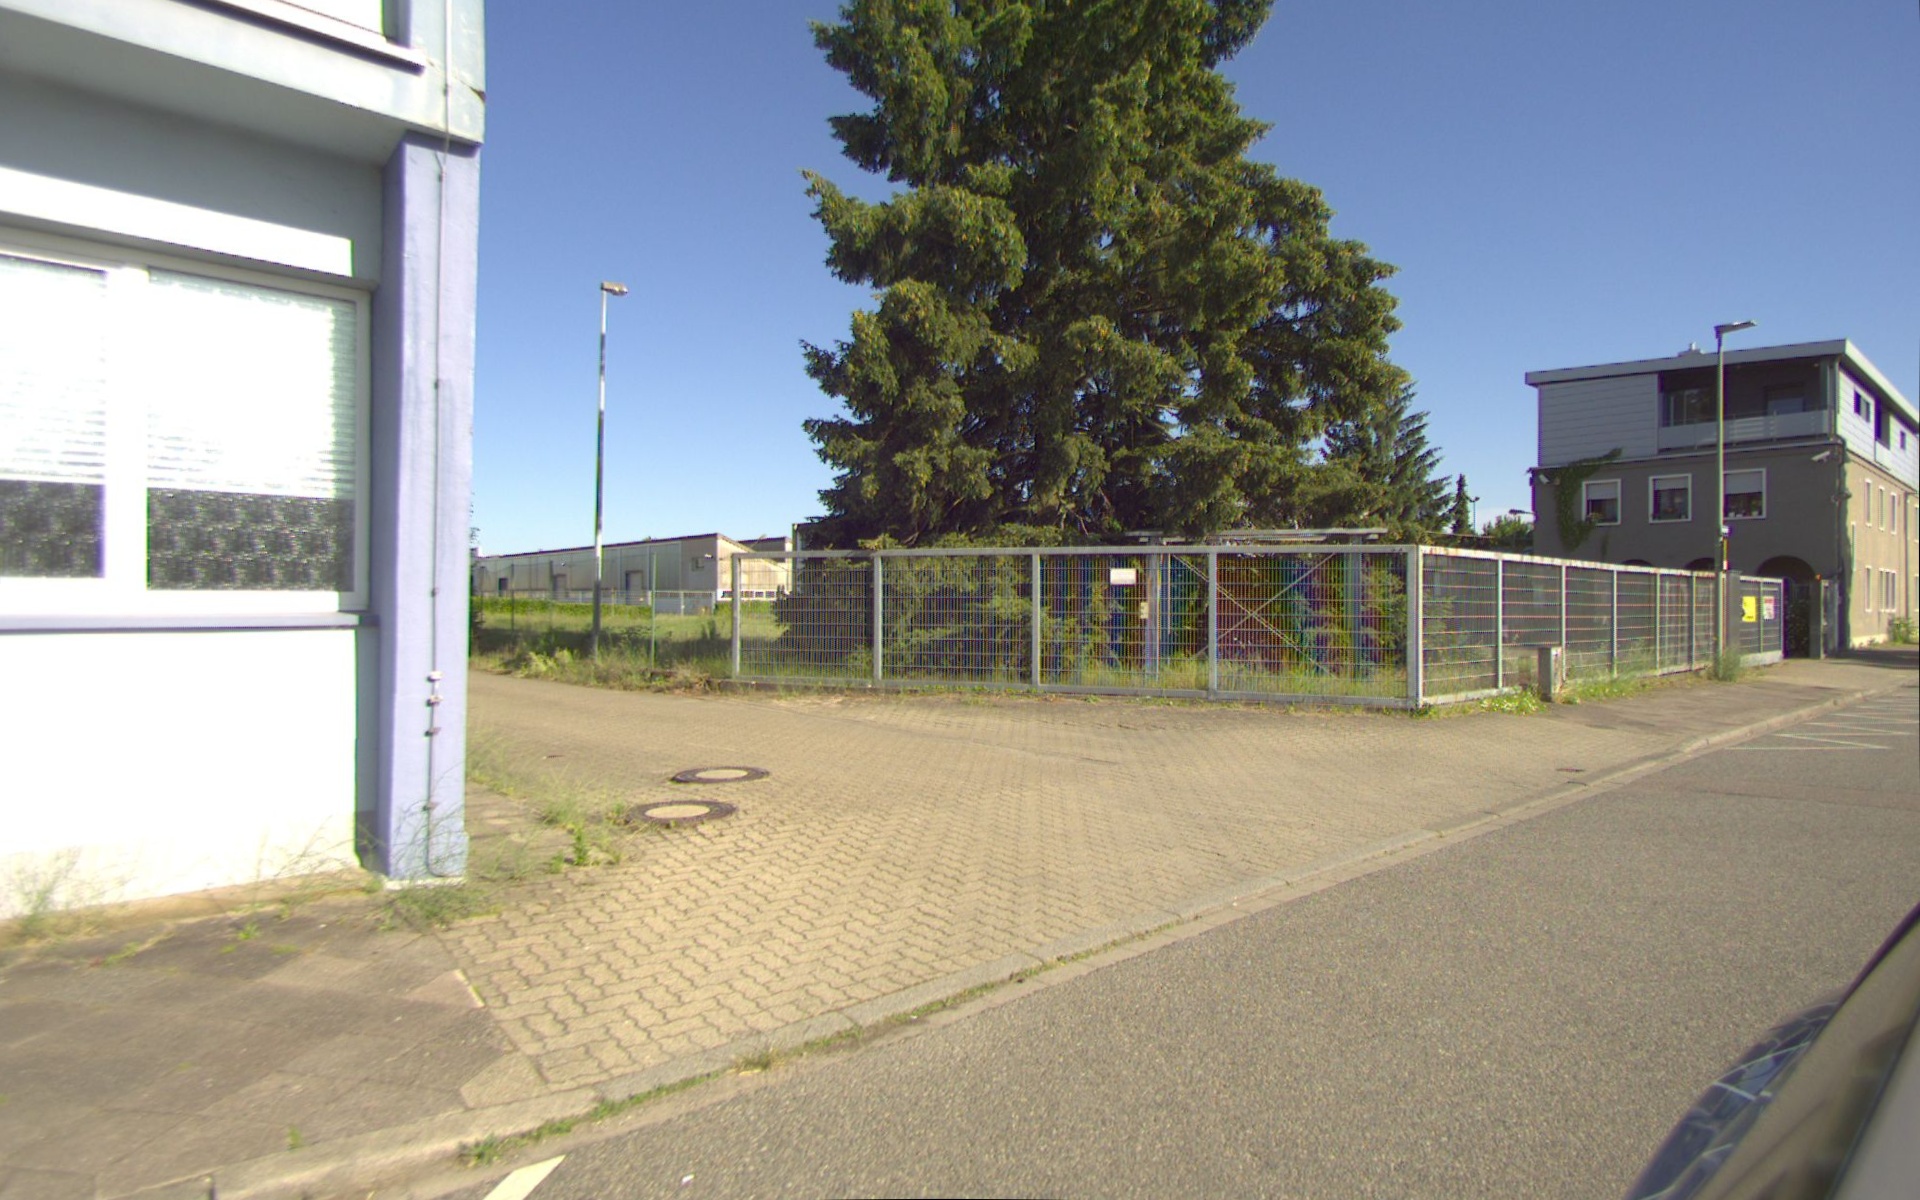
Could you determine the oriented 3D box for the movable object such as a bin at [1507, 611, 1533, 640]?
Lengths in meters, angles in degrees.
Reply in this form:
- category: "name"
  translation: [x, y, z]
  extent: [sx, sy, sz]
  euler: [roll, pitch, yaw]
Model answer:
- category: "movable object such as a bin"
  translation: [20.455, 0.925, 36.954]
  extent: [0.736, 0.984, 0.616]
  euler: [-2, 1, -40]
